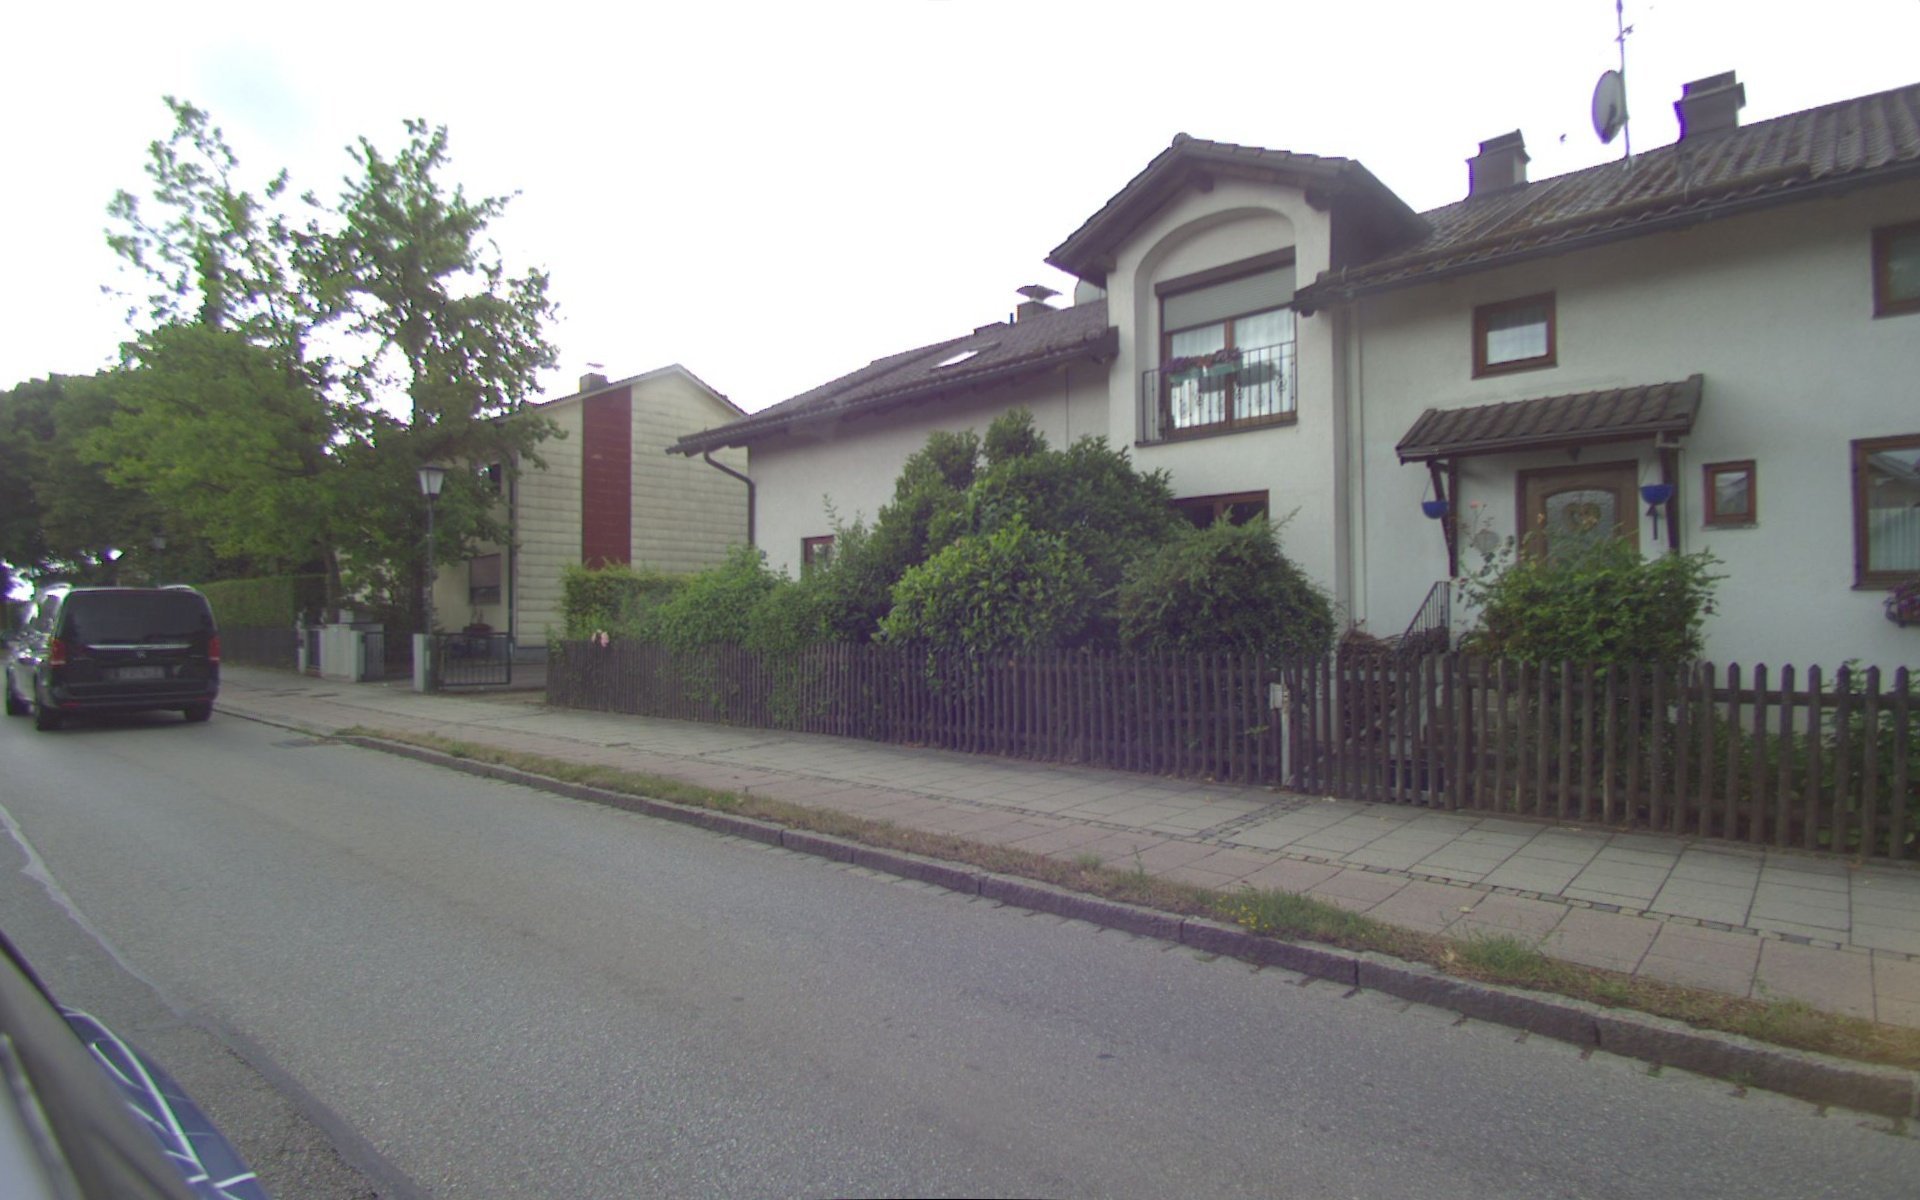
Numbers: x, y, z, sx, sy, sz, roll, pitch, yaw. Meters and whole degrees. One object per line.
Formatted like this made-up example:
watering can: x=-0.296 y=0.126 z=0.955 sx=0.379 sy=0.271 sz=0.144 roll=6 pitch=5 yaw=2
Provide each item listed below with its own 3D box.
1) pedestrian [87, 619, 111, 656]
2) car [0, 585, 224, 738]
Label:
pedestrian: x=-34.432 y=1.483 z=40.471 sx=0.563 sy=1.448 sz=0.623 roll=-1 pitch=-1 yaw=41
car: x=-12.579 y=0.806 z=14.793 sx=4.946 sy=1.867 sz=1.944 roll=-1 pitch=-2 yaw=42
